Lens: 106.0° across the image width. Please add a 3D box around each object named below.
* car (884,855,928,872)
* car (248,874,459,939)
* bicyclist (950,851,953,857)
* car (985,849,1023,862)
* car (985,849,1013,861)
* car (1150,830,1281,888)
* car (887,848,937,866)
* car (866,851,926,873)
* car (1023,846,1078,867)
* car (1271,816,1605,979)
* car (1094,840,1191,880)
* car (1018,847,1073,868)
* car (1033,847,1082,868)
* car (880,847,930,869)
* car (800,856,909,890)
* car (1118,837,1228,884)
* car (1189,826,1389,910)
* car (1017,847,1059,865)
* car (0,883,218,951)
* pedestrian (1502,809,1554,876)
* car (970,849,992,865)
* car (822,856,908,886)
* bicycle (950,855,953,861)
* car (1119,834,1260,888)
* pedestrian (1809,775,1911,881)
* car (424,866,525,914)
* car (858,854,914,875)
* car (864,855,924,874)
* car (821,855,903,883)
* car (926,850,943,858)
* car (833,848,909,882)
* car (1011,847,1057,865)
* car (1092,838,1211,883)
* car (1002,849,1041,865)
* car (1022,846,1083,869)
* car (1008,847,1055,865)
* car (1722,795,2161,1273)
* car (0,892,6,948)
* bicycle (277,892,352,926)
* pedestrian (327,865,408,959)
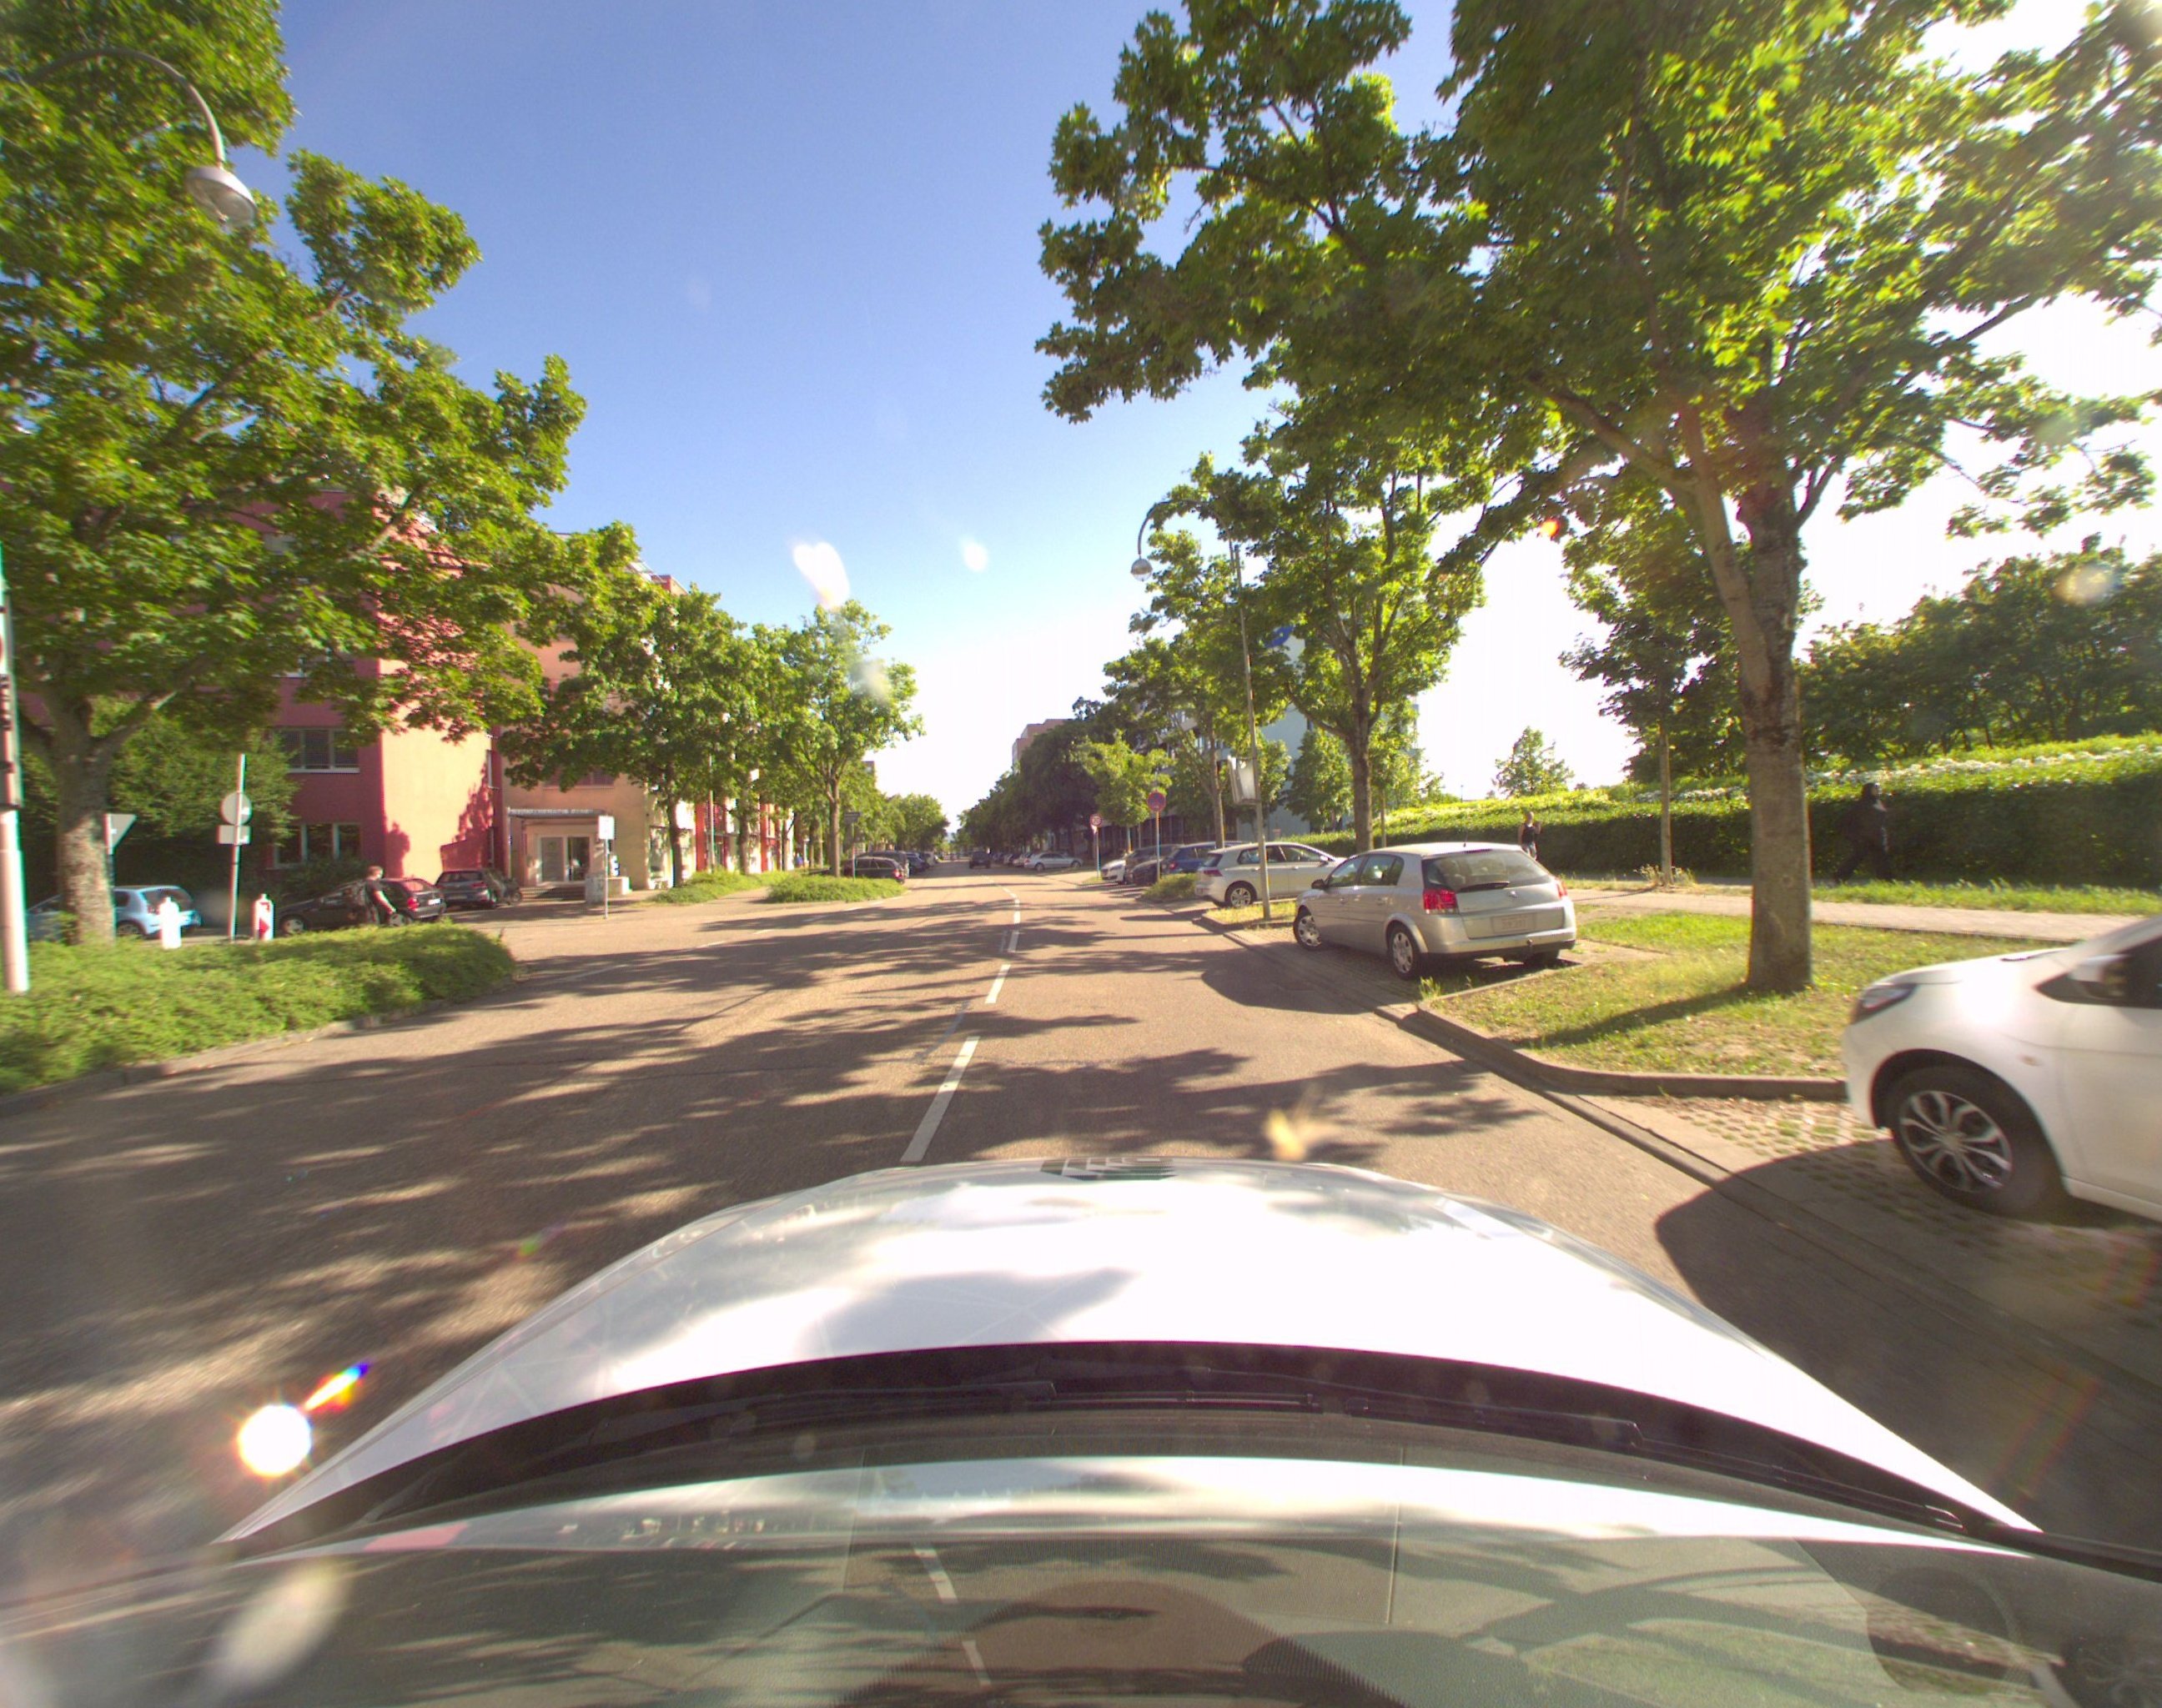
[{"bbox_3d":[-15.410,0.841,71.637,3.733,1.427,1.716,0,0,-16],"label":"car"},{"bbox_3d":[-20.362,1.430,22.969,3.983,1.446,1.798,-2,3,-10],"label":"car"},{"bbox_3d":[-24.469,0.040,153.866,0.532,1.091,0.792,-2,0,-7],"label":"bicyclist"},{"bbox_3d":[-10.420,0.178,110.422,4.828,1.420,2.024,-4,0,-12],"label":"car"},{"bbox_3d":[-13.345,0.220,132.855,4.355,1.703,1.805,-4,0,-13],"label":"car"},{"bbox_3d":[4.369,0.153,26.783,3.803,1.448,1.740,-6,0,-8],"label":"car"},{"bbox_3d":[-18.402,0.342,88.797,5.258,1.967,1.936,0,0,-10],"label":"car"},{"bbox_3d":[-14.580,0.614,64.418,4.313,1.717,1.959,0,0,-5],"label":"car"},{"bbox_3d":[-2.659,0.196,69.472,4.509,1.542,1.918,-4,0,-6],"label":"car"},{"bbox_3d":[4.150,0.429,10.483,1.807,1.493,4.613,-5,0,-6],"label":"car"},{"bbox_3d":[2.777,0.265,37.062,3.956,1.515,1.692,-4,0,-16],"label":"car"},{"bbox_3d":[-3.163,0.331,72.321,4.521,1.542,1.913,-4,0,-14],"label":"car"},{"bbox_3d":[-1.983,0.260,67.096,3.833,1.447,1.918,-4,0,-6],"label":"car"},{"bbox_3d":[-17.032,0.404,78.936,4.485,2.090,2.077,0,0,-8],"label":"car"},{"bbox_3d":[-9.658,0.792,35.025,4.257,1.423,1.736,0,0,-6],"label":"car"},{"bbox_3d":[3.577,0.247,31.965,3.875,1.515,1.745,-4,0,-9],"label":"car"},{"bbox_3d":[4.700,0.307,18.772,4.080,1.429,1.641,-6,0,-3],"label":"car"},{"bbox_3d":[-4.210,0.151,78.928,3.748,1.493,1.609,-4,0,-14],"label":"car"},{"bbox_3d":[-26.443,1.661,21.889,3.995,1.450,1.931,-2,3,-10],"label":"car"},{"bbox_3d":[10.726,-0.280,19.568,0.606,1.542,0.935,-2,0,-8],"label":"pedestrian"},{"bbox_3d":[-10.215,0.299,82.973,1.993,1.640,3.987,0,0,-10],"label":"car"},{"bbox_3d":[-10.454,0.800,39.715,3.891,1.423,1.734,0,0,-10],"label":"car"},{"bbox_3d":[-24.450,0.677,153.886,0.532,1.072,1.297,-2,0,-7],"label":"bicycle"},{"bbox_3d":[3.856,0.233,29.432,4.549,1.515,2.152,-4,0,-9],"label":"car"},{"bbox_3d":[12.172,-0.397,12.741,0.723,1.588,0.850,-2,0,-8],"label":"pedestrian"},{"bbox_3d":[-21.552,1.229,29.109,1.740,1.443,4.103,-3,1,-21],"label":"car"},{"bbox_3d":[-13.539,0.714,56.759,3.727,1.427,1.834,0,0,-11],"label":"car"},{"bbox_3d":[-14.140,0.788,61.816,4.405,1.427,1.766,0,0,-12],"label":"car"},{"bbox_3d":[-11.325,0.765,42.326,3.891,1.423,1.734,0,0,-10],"label":"car"},{"bbox_3d":[-38.576,-0.043,214.287,3.982,2.013,1.996,-2,0,-6],"label":"car"},{"bbox_3d":[-11.428,0.588,44.550,3.891,1.811,1.780,0,0,-10],"label":"car"},{"bbox_3d":[-4.717,0.170,81.273,4.289,1.493,1.996,-4,0,-12],"label":"car"},{"bbox_3d":[2.968,0.281,34.454,4.559,1.515,1.972,-4,0,-16],"label":"car"},{"bbox_3d":[-6.482,0.314,88.891,3.972,1.420,1.704,-4,0,-12],"label":"car"},{"bbox_3d":[-2.261,0.282,64.103,4.577,1.475,1.741,-4,1,-9],"label":"car"},{"bbox_3d":[-5.113,0.158,83.859,4.592,1.493,1.757,-4,1,-10],"label":"car"},{"bbox_3d":[4.262,0.548,2.396,1.639,1.493,3.763,-5,0,-2],"label":"car"},{"bbox_3d":[-31.310,1.919,20.994,3.995,1.504,1.931,-2,3,-10],"label":"car"},{"bbox_3d":[-24.869,1.779,26.451,1.677,0.986,0.447,-2,0,-26],"label":"bicycle"},{"bbox_3d":[-13.986,1.110,15.996,0.656,1.725,1.020,-3,0,-5],"label":"pedestrian"}]
